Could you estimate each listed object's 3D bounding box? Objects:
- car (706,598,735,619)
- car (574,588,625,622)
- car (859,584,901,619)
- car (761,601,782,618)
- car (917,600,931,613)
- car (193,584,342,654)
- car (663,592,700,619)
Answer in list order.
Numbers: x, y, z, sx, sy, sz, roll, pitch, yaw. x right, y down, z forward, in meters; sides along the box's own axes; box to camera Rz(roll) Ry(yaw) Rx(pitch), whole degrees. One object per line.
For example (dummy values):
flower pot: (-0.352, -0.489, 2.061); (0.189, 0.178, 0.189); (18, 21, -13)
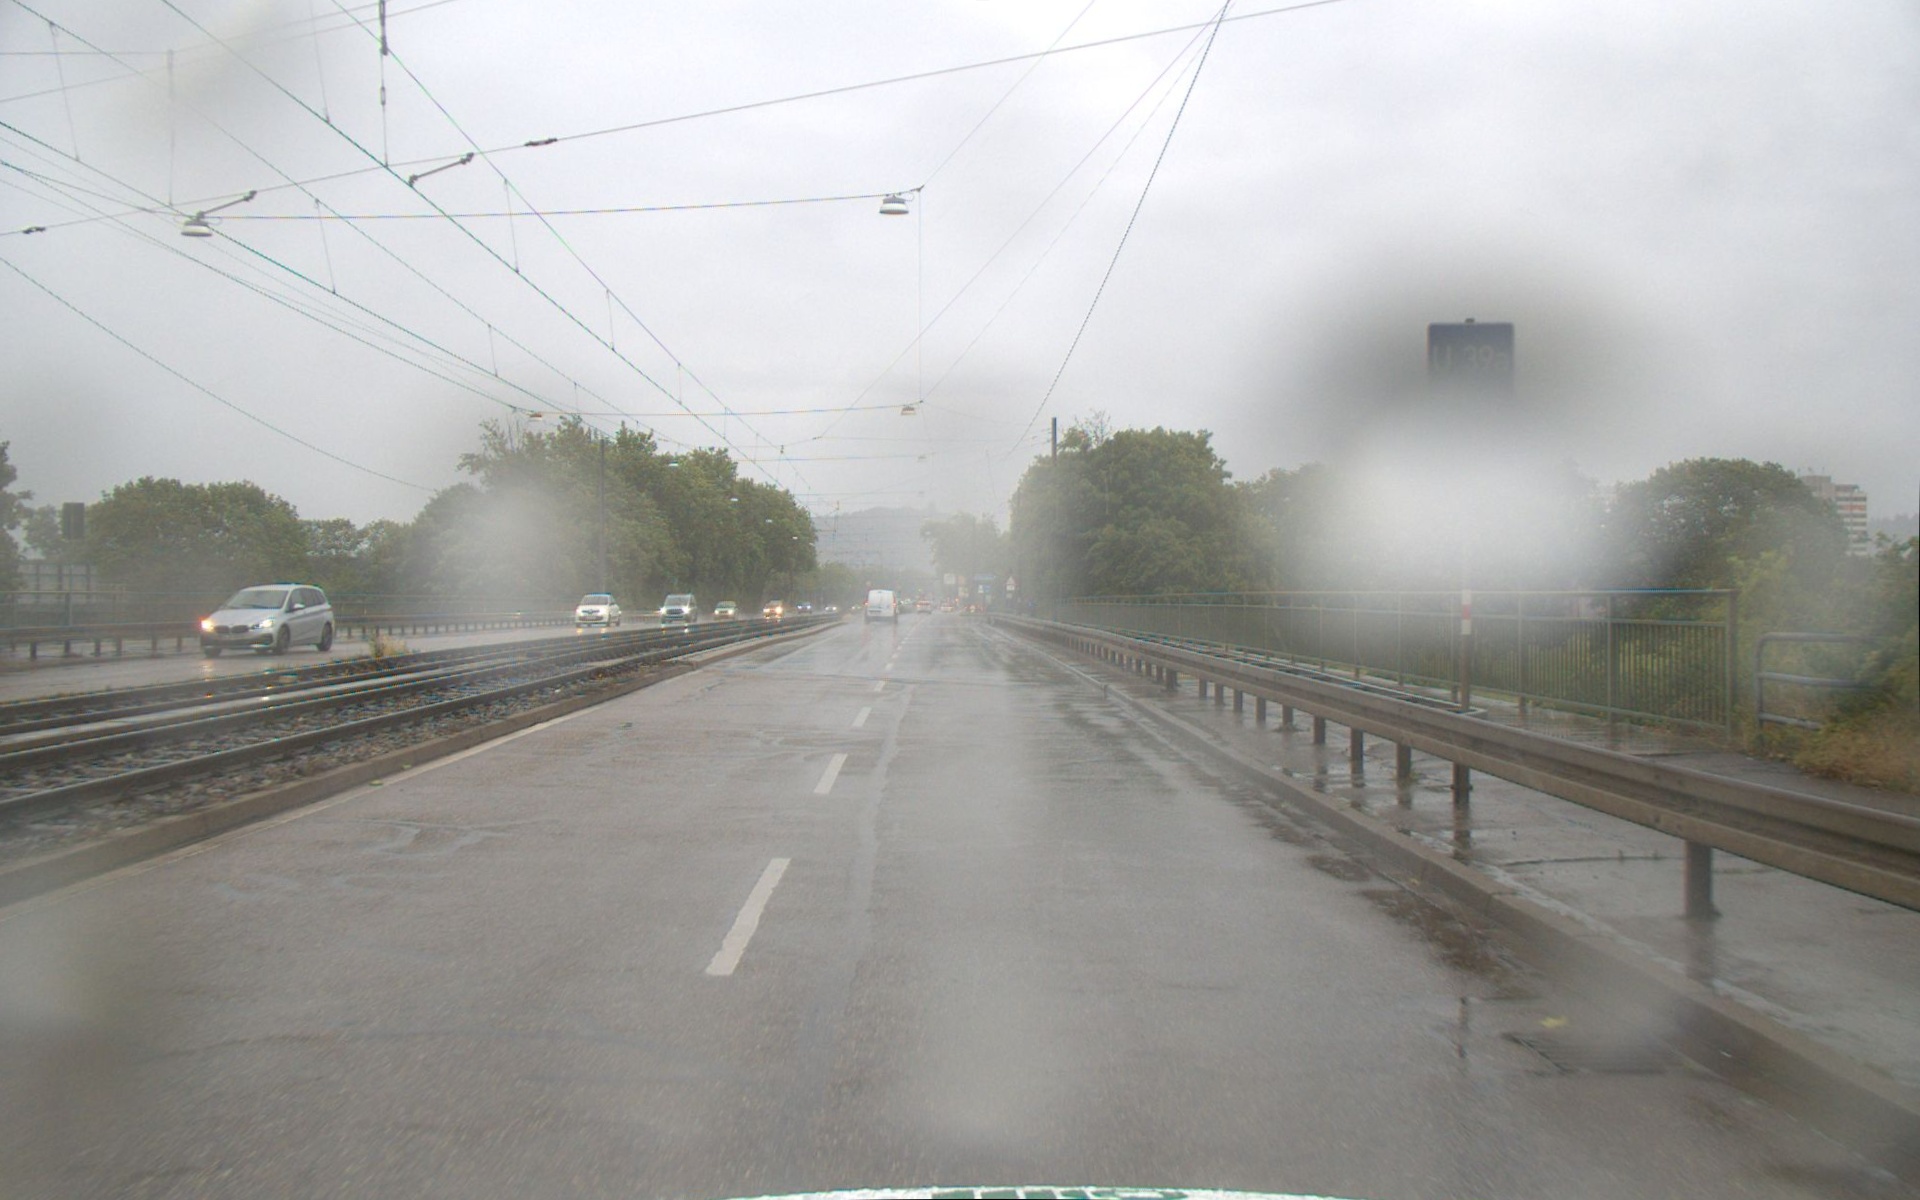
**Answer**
car: (-18.553, 0.658, 128.179); (1.708, 1.534, 3.699); (2, 1, -1)
car: (-17.519, 0.214, 80.435); (1.708, 1.534, 3.699); (2, 1, -1)
car: (-4.187, 0.036, 87.406); (1.948, 1.713, 3.740); (2, 1, 0)
car: (-19.041, 0.940, 167.120); (1.708, 1.534, 3.699); (2, 1, -1)
car: (-4.548, 0.872, 211.088); (1.708, 1.534, 3.699); (2, 1, -1)
car: (-16.294, 0.407, 39.160); (1.761, 1.478, 4.194); (2, 1, 0)
car: (-17.257, 0.323, 102.490); (1.708, 1.534, 3.699); (2, 1, -1)
